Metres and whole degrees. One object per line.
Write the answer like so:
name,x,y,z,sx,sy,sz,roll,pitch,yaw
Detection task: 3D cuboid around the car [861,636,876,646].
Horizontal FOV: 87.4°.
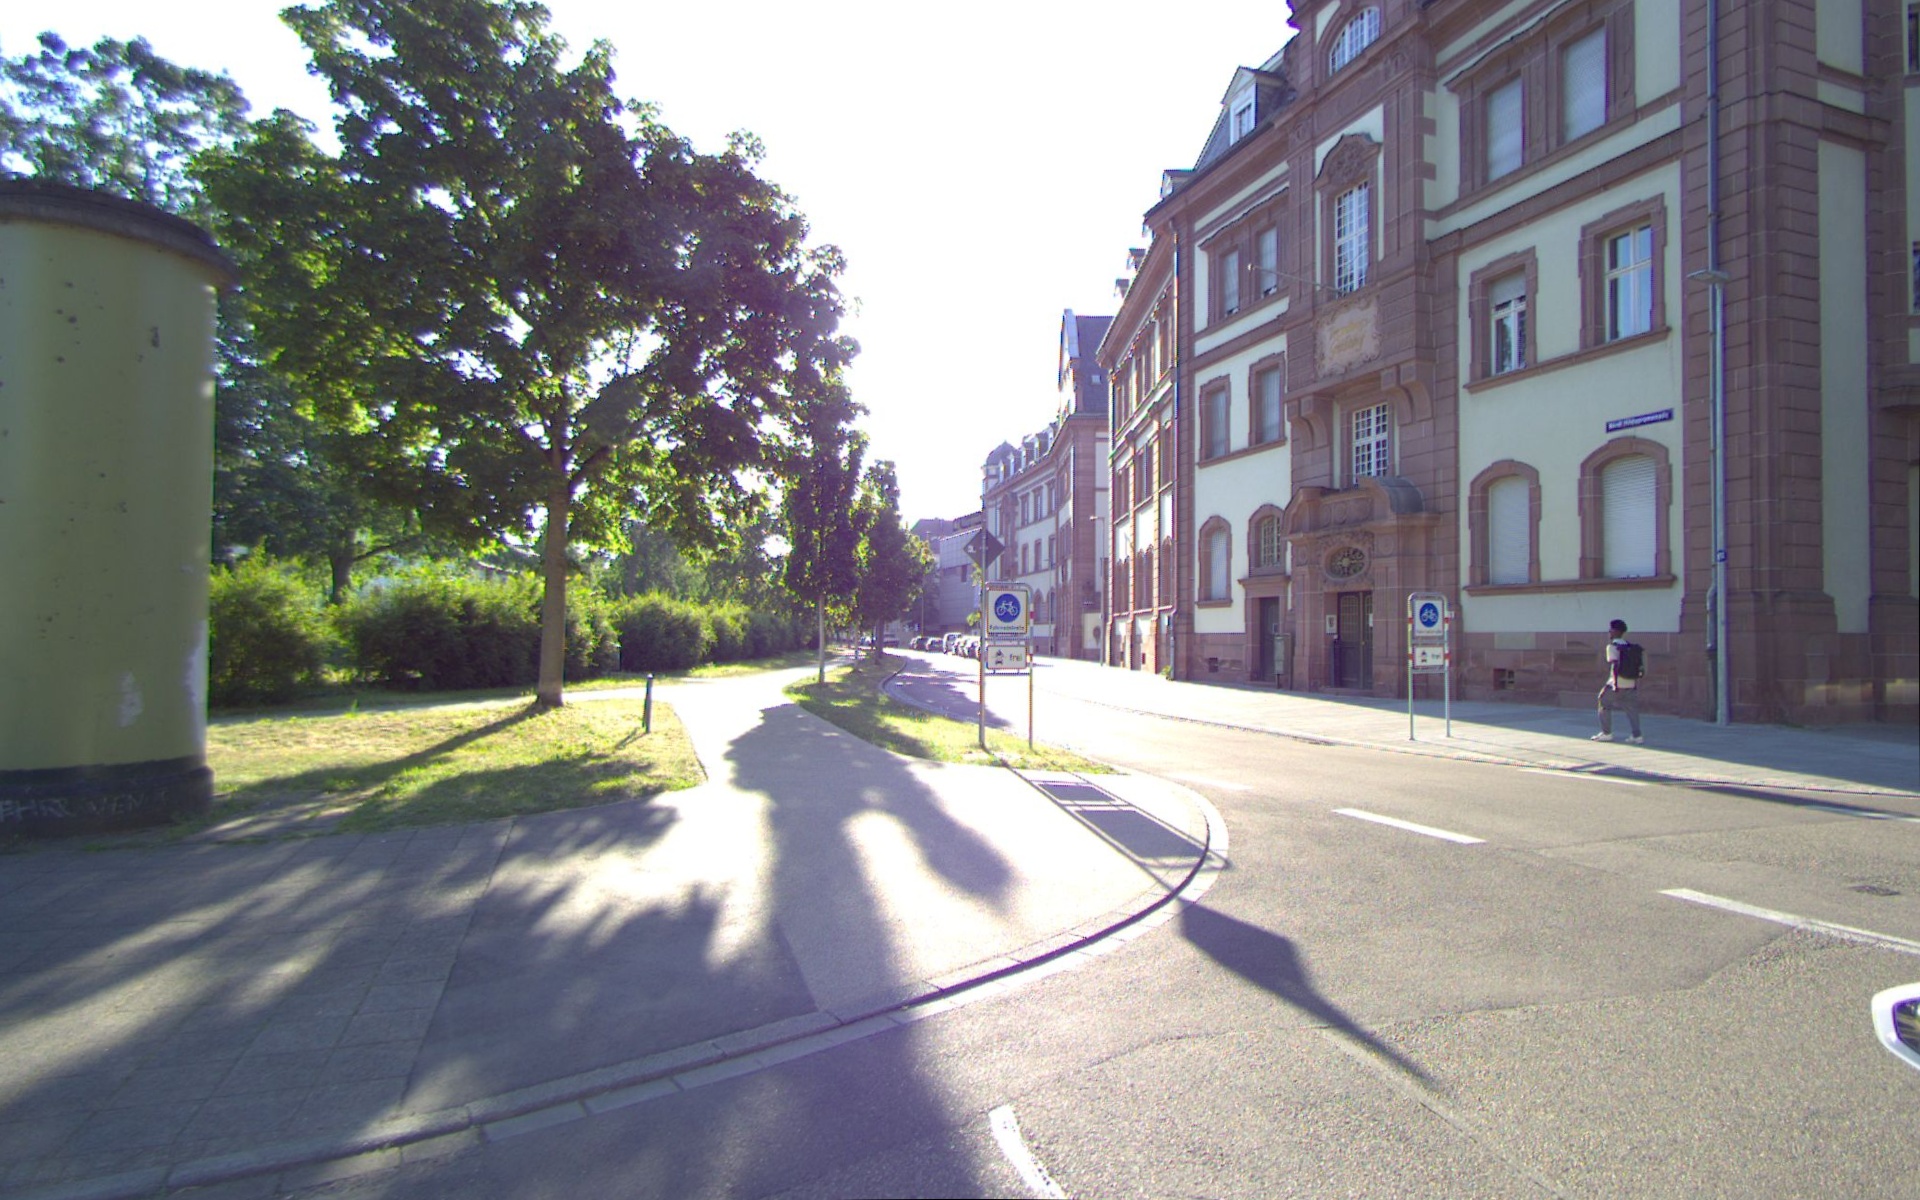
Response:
car,-14.502,6.474,159.231,1.668,1.459,3.540,0,-2,-15

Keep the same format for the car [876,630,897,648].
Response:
car,-10.905,5.751,148.666,2.181,2.563,6.132,-1,-2,-14

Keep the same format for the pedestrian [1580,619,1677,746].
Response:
pedestrian,9.593,1.154,14.442,0.526,1.741,0.999,-1,-1,-19

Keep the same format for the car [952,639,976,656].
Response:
car,0.319,4.141,87.533,1.653,1.421,4.196,1,-2,-6

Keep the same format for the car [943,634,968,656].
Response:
car,-0.458,4.417,98.218,1.962,1.991,4.847,-3,-3,-5

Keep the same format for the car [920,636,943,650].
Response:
car,-3.181,4.736,110.021,1.723,1.485,4.468,1,-2,-12

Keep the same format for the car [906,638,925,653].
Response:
car,-5.315,5.426,120.113,1.699,1.691,4.106,-1,-2,-12

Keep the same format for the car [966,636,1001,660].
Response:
car,1.577,3.222,68.232,1.741,1.550,4.568,-1,-2,-7

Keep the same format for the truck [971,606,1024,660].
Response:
truck,2.267,2.065,62.556,2.582,3.161,6.084,0,-2,-5
